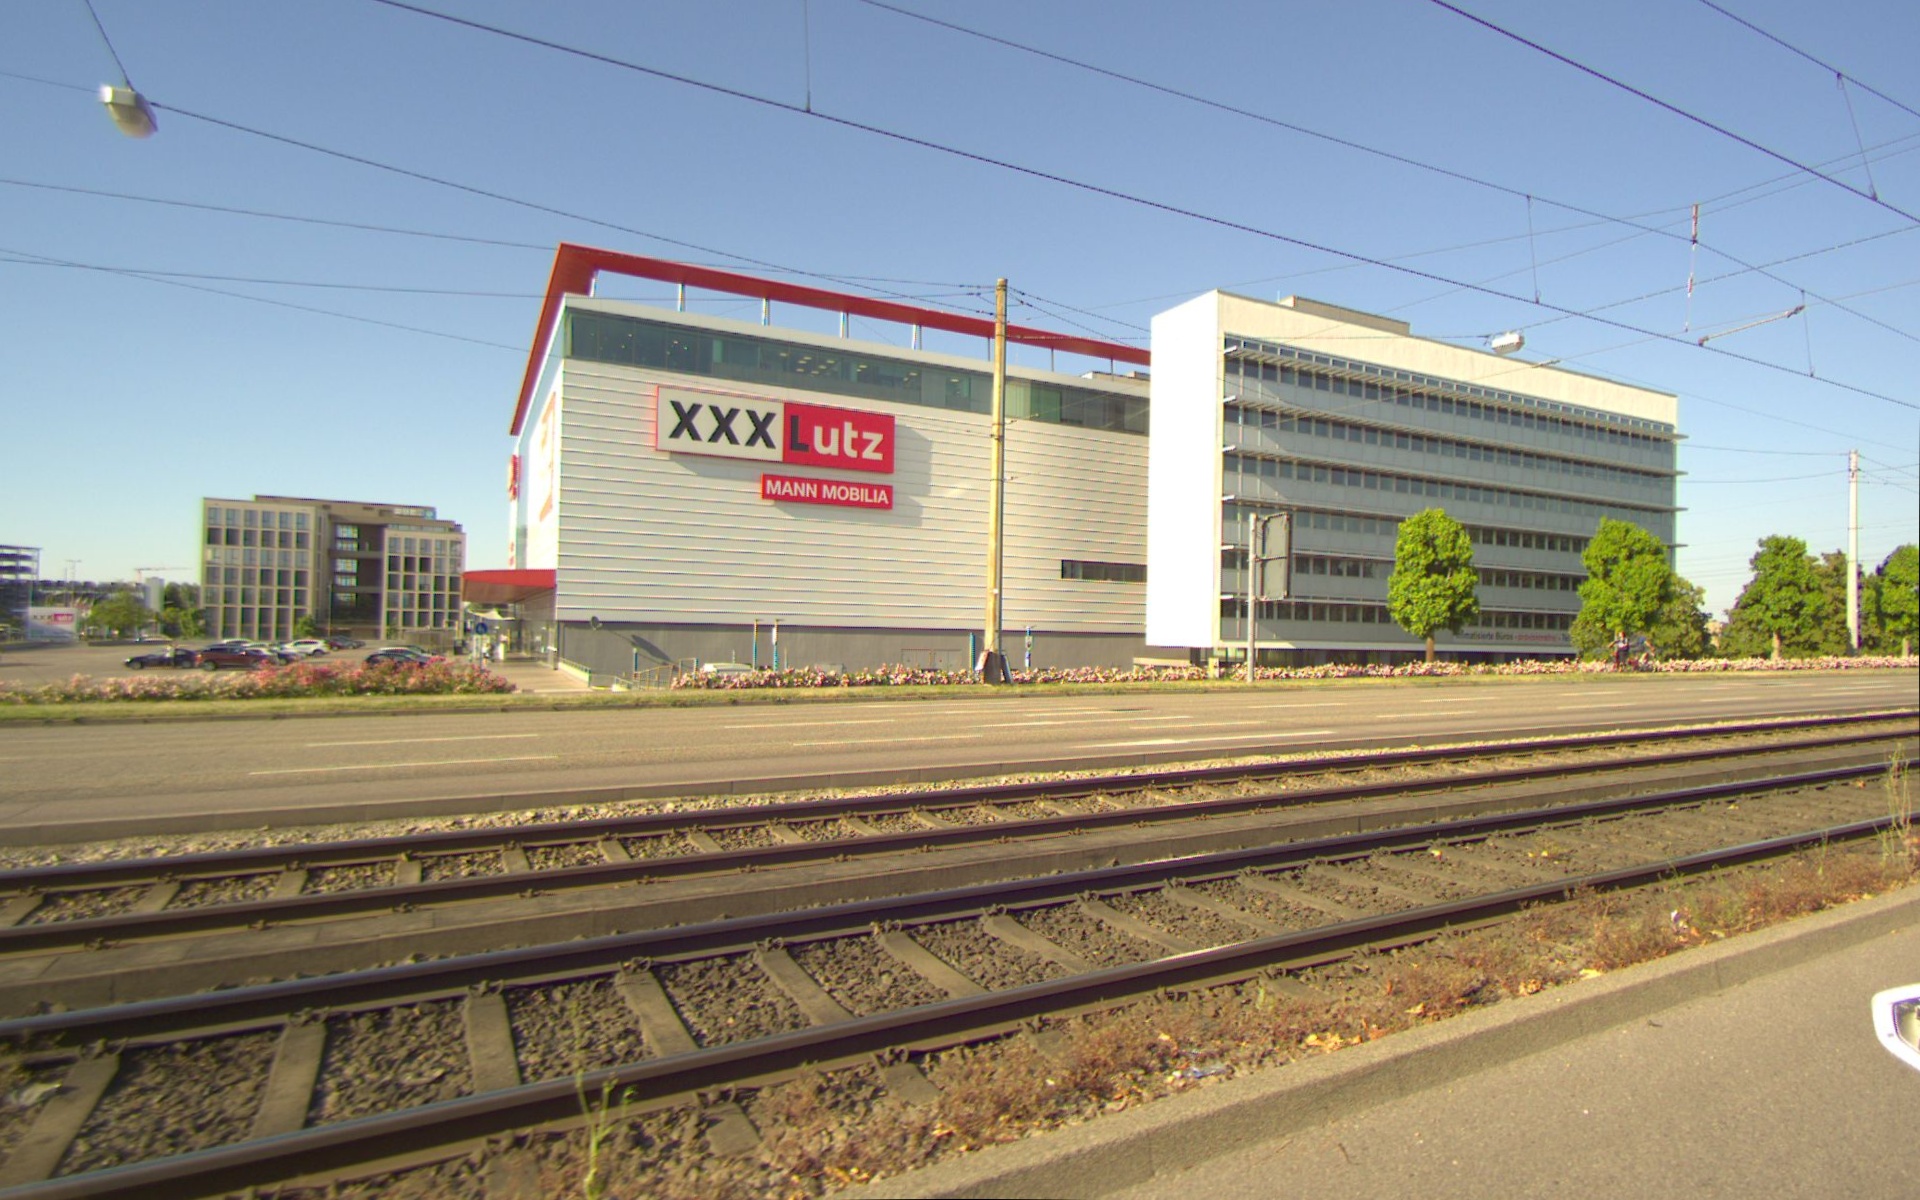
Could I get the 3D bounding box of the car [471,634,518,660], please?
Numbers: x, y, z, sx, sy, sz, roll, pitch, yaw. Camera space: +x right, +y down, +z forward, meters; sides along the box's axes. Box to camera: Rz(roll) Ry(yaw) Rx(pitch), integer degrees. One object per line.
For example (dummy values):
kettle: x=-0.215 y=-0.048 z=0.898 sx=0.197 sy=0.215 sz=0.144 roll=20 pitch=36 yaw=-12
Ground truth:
car: x=-35.875 y=3.637 z=77.455 sx=3.247 sy=1.880 sz=1.500 roll=1 pitch=1 yaw=-27

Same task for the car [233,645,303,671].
car: x=-48.861 y=4.049 z=70.978 sx=3.957 sy=1.640 sz=1.862 roll=1 pitch=1 yaw=-33

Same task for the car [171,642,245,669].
car: x=-52.975 y=3.888 z=70.839 sx=3.953 sy=1.725 sz=1.964 roll=1 pitch=1 yaw=-30

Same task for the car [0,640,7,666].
car: x=-71.552 y=3.969 z=73.167 sx=1.801 sy=1.824 sz=4.204 roll=1 pitch=1 yaw=-24

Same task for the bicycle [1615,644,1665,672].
bicycle: x=28.155 y=2.410 z=41.570 sx=1.998 sy=1.088 sz=0.703 roll=1 pitch=1 yaw=-23

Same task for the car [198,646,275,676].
car: x=-48.845 y=4.114 z=67.902 sx=3.953 sy=1.838 sz=1.984 roll=1 pitch=1 yaw=-30

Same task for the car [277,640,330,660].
car: x=-59.364 y=4.536 z=90.802 sx=3.961 sy=1.640 sz=1.861 roll=1 pitch=1 yaw=-36

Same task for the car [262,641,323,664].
car: x=-52.959 y=4.169 z=79.819 sx=3.957 sy=1.640 sz=1.862 roll=1 pitch=1 yaw=-33

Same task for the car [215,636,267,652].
car: x=-71.912 y=4.438 z=100.483 sx=3.949 sy=1.468 sz=1.866 roll=1 pitch=1 yaw=-27

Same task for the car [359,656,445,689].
car: x=-32.963 y=4.250 z=59.399 sx=4.396 sy=1.725 sz=1.911 roll=1 pitch=1 yaw=-30

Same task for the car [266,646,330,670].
car: x=-49.728 y=4.326 z=75.552 sx=3.957 sy=1.640 sz=1.862 roll=1 pitch=1 yaw=-33

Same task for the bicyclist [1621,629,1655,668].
bicyclist: x=28.020 y=2.003 z=41.498 sx=0.956 sy=1.532 sz=0.703 roll=1 pitch=1 yaw=-23

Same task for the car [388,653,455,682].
car: x=-36.254 y=4.517 z=67.649 sx=3.953 sy=1.725 sz=1.911 roll=1 pitch=1 yaw=-30

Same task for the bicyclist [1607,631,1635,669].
bicyclist: x=29.122 y=2.191 z=44.265 sx=0.789 sy=1.645 sz=0.660 roll=1 pitch=1 yaw=-20

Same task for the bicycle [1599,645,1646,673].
bicycle: x=29.228 y=2.618 z=44.317 sx=1.991 sy=1.166 sz=0.660 roll=1 pitch=1 yaw=-20

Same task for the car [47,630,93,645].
car: x=-111.255 y=4.720 z=125.591 sx=3.950 sy=1.805 sz=1.985 roll=1 pitch=1 yaw=-28

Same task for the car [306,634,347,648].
car: x=-68.387 y=4.414 z=108.483 sx=3.617 sy=1.387 sz=1.648 roll=1 pitch=1 yaw=-26
